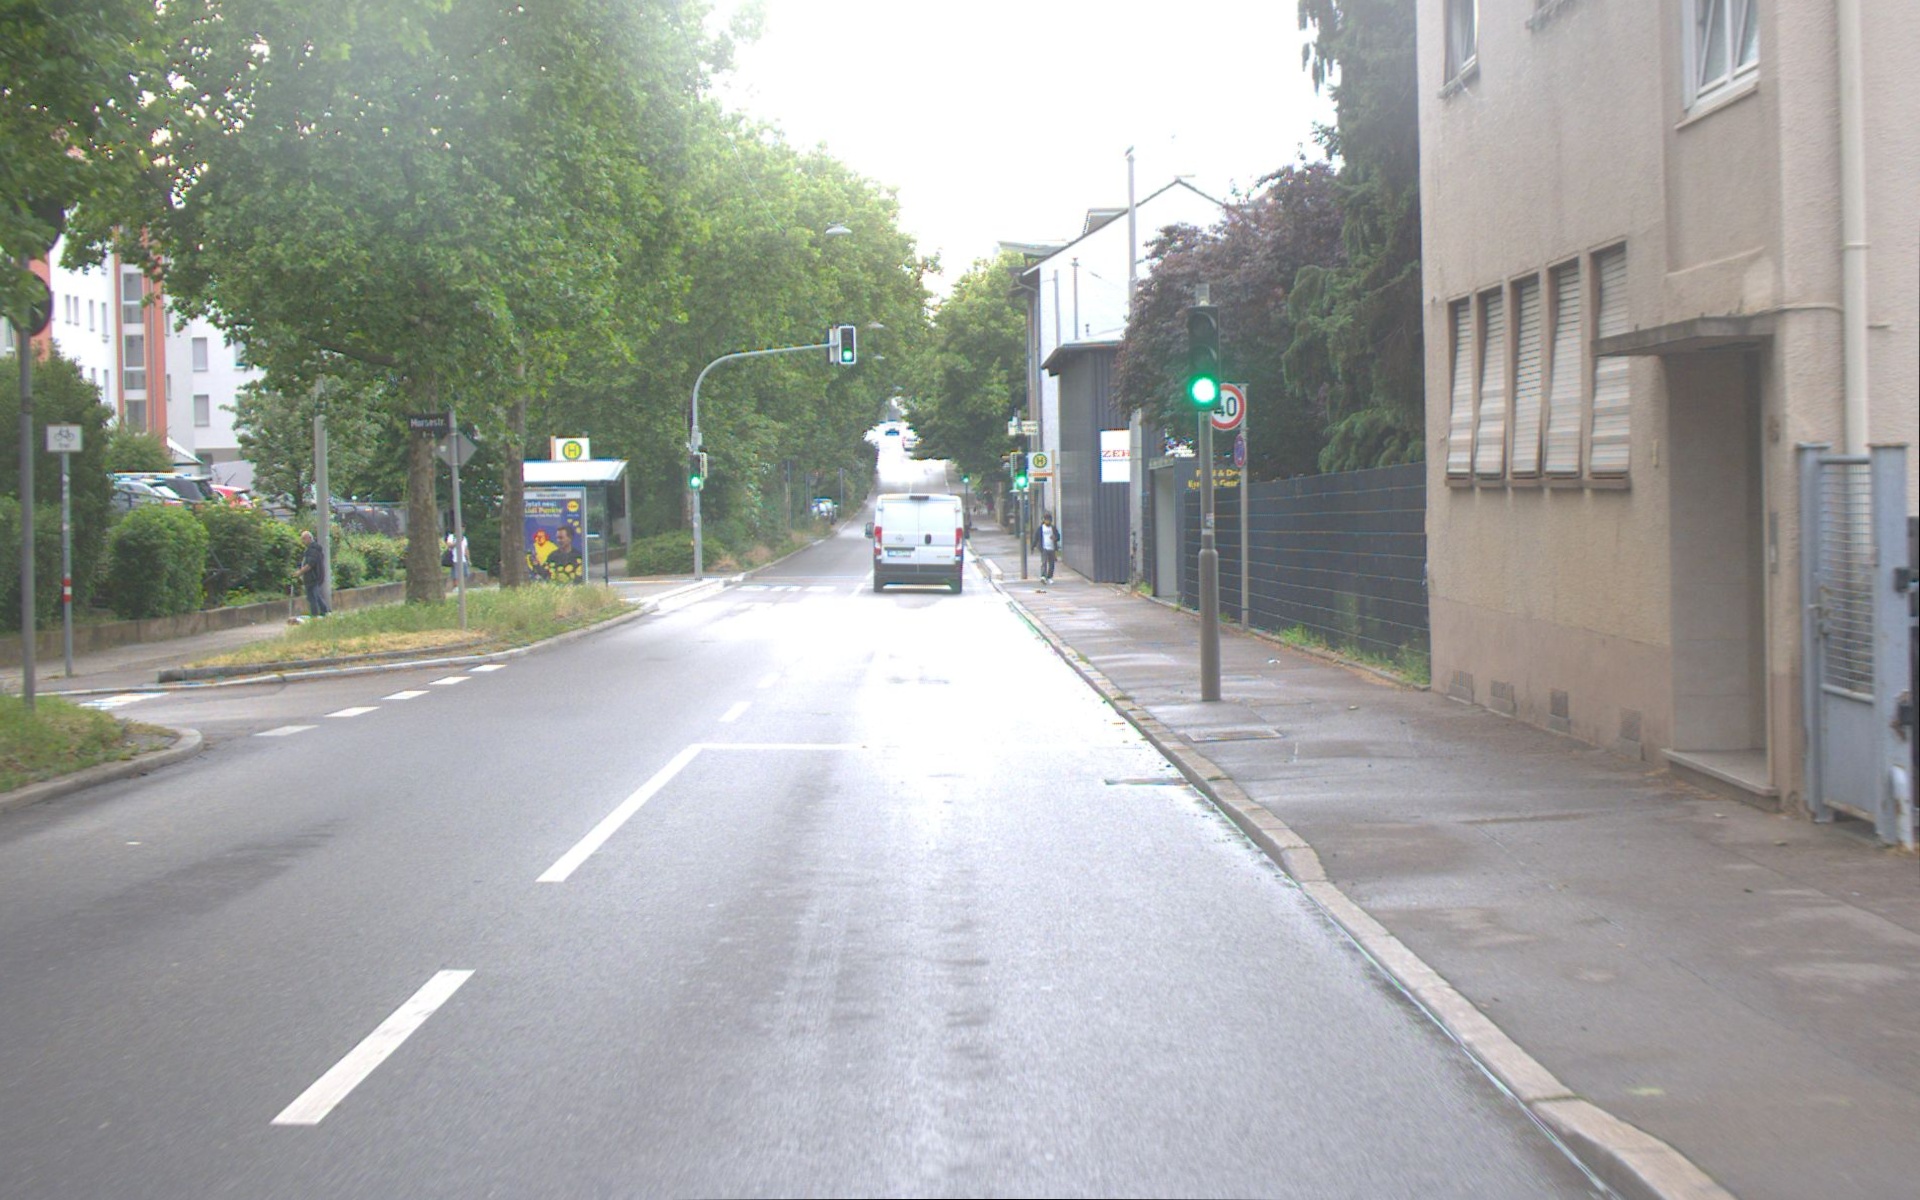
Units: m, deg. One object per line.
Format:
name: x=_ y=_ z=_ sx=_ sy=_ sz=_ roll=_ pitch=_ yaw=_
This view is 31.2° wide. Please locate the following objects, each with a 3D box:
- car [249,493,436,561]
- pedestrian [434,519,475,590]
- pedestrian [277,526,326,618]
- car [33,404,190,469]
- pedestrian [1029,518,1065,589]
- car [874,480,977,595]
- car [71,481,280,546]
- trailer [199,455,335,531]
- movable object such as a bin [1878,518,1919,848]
car: x=-16.125 y=-1.908 z=89.915 sx=4.545 sy=1.666 sz=2.000 roll=1 pitch=0 yaw=-1
pedestrian: x=-11.712 y=-1.058 z=79.676 sx=0.741 sy=1.593 sz=0.606 roll=-4 pitch=0 yaw=3
pedestrian: x=-11.656 y=-0.494 z=60.890 sx=0.755 sy=1.605 sz=0.835 roll=1 pitch=0 yaw=-5
car: x=-23.257 y=-4.465 z=94.295 sx=3.811 sy=1.596 sz=1.718 roll=1 pitch=0 yaw=-39
pedestrian: x=2.098 y=-1.124 z=83.272 sx=0.742 sy=1.698 sz=0.902 roll=1 pitch=0 yaw=-6
car: x=-0.784 y=-1.407 z=79.016 sx=2.282 sy=2.544 sz=4.000 roll=0 pitch=0 yaw=0
car: x=-16.887 y=-1.858 z=74.171 sx=4.088 sy=1.298 sz=1.810 roll=1 pitch=0 yaw=0
trailer: x=-15.344 y=-2.371 z=76.233 sx=2.704 sy=1.639 sz=1.480 roll=1 pitch=1 yaw=0
movable object such as a bin: x=4.900 y=0.356 z=15.628 sx=1.110 sy=1.504 sz=0.987 roll=-3 pitch=0 yaw=-1
